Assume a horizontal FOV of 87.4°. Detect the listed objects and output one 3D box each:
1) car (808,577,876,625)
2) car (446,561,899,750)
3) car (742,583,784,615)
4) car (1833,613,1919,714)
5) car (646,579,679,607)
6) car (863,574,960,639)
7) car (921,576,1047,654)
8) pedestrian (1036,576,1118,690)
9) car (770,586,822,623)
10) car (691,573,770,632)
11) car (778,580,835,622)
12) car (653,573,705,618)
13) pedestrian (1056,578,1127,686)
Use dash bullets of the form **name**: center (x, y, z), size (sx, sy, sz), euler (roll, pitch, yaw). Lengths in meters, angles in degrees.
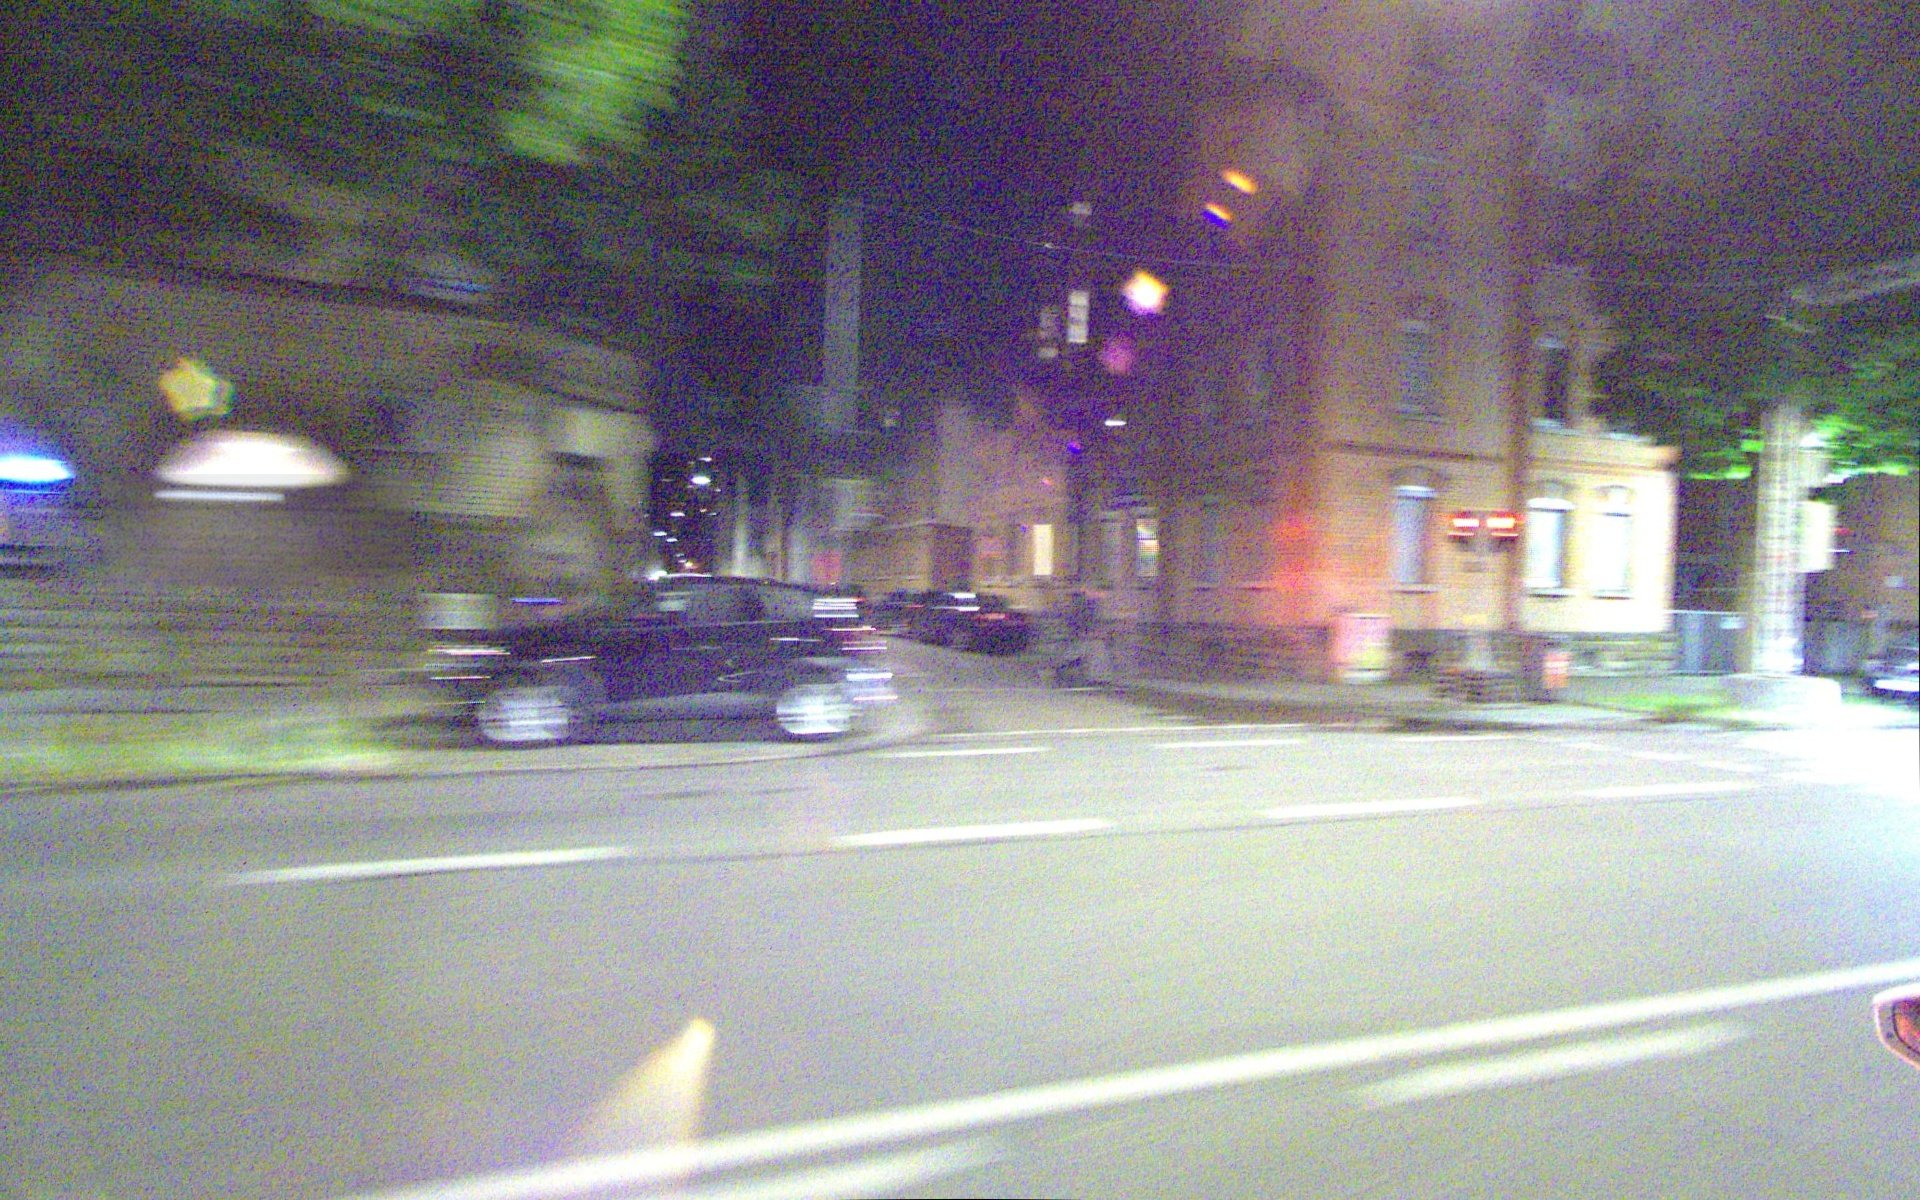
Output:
- **car**: center (-4.796, 0.045, 40.306), size (1.872, 1.799, 3.982), euler (1, 0, -19)
- **car**: center (-2.769, 0.491, 10.097), size (3.959, 1.618, 1.885), euler (1, 1, -17)
- **car**: center (-11.631, -0.034, 59.160), size (1.872, 1.799, 3.982), euler (1, 0, -19)
- **car**: center (16.729, 1.017, 16.632), size (3.636, 1.511, 1.593), euler (0, 2, -14)
- **car**: center (-19.627, -0.430, 66.259), size (1.872, 1.799, 3.982), euler (1, 0, -19)
- **car**: center (-1.532, 0.205, 30.165), size (1.872, 1.799, 3.982), euler (1, 0, -19)
- **car**: center (0.513, 0.359, 25.312), size (1.872, 1.799, 3.982), euler (1, 0, -19)
- **pedestrian**: center (1.800, 0.504, 15.568), size (1.103, 1.713, 0.711), euler (1, -1, -8)
- **car**: center (-8.313, 0.227, 50.670), size (1.872, 1.799, 3.982), euler (1, 0, -19)
- **car**: center (-6.952, 0.091, 30.216), size (1.872, 1.620, 3.982), euler (1, 0, -19)
- **car**: center (-7.063, 0.064, 45.867), size (1.872, 1.799, 3.982), euler (1, 0, -19)
- **car**: center (-12.078, -0.182, 42.980), size (1.872, 1.799, 3.982), euler (1, 0, -19)
- **pedestrian**: center (2.141, 0.518, 16.424), size (0.979, 1.713, 0.711), euler (1, -1, -8)
